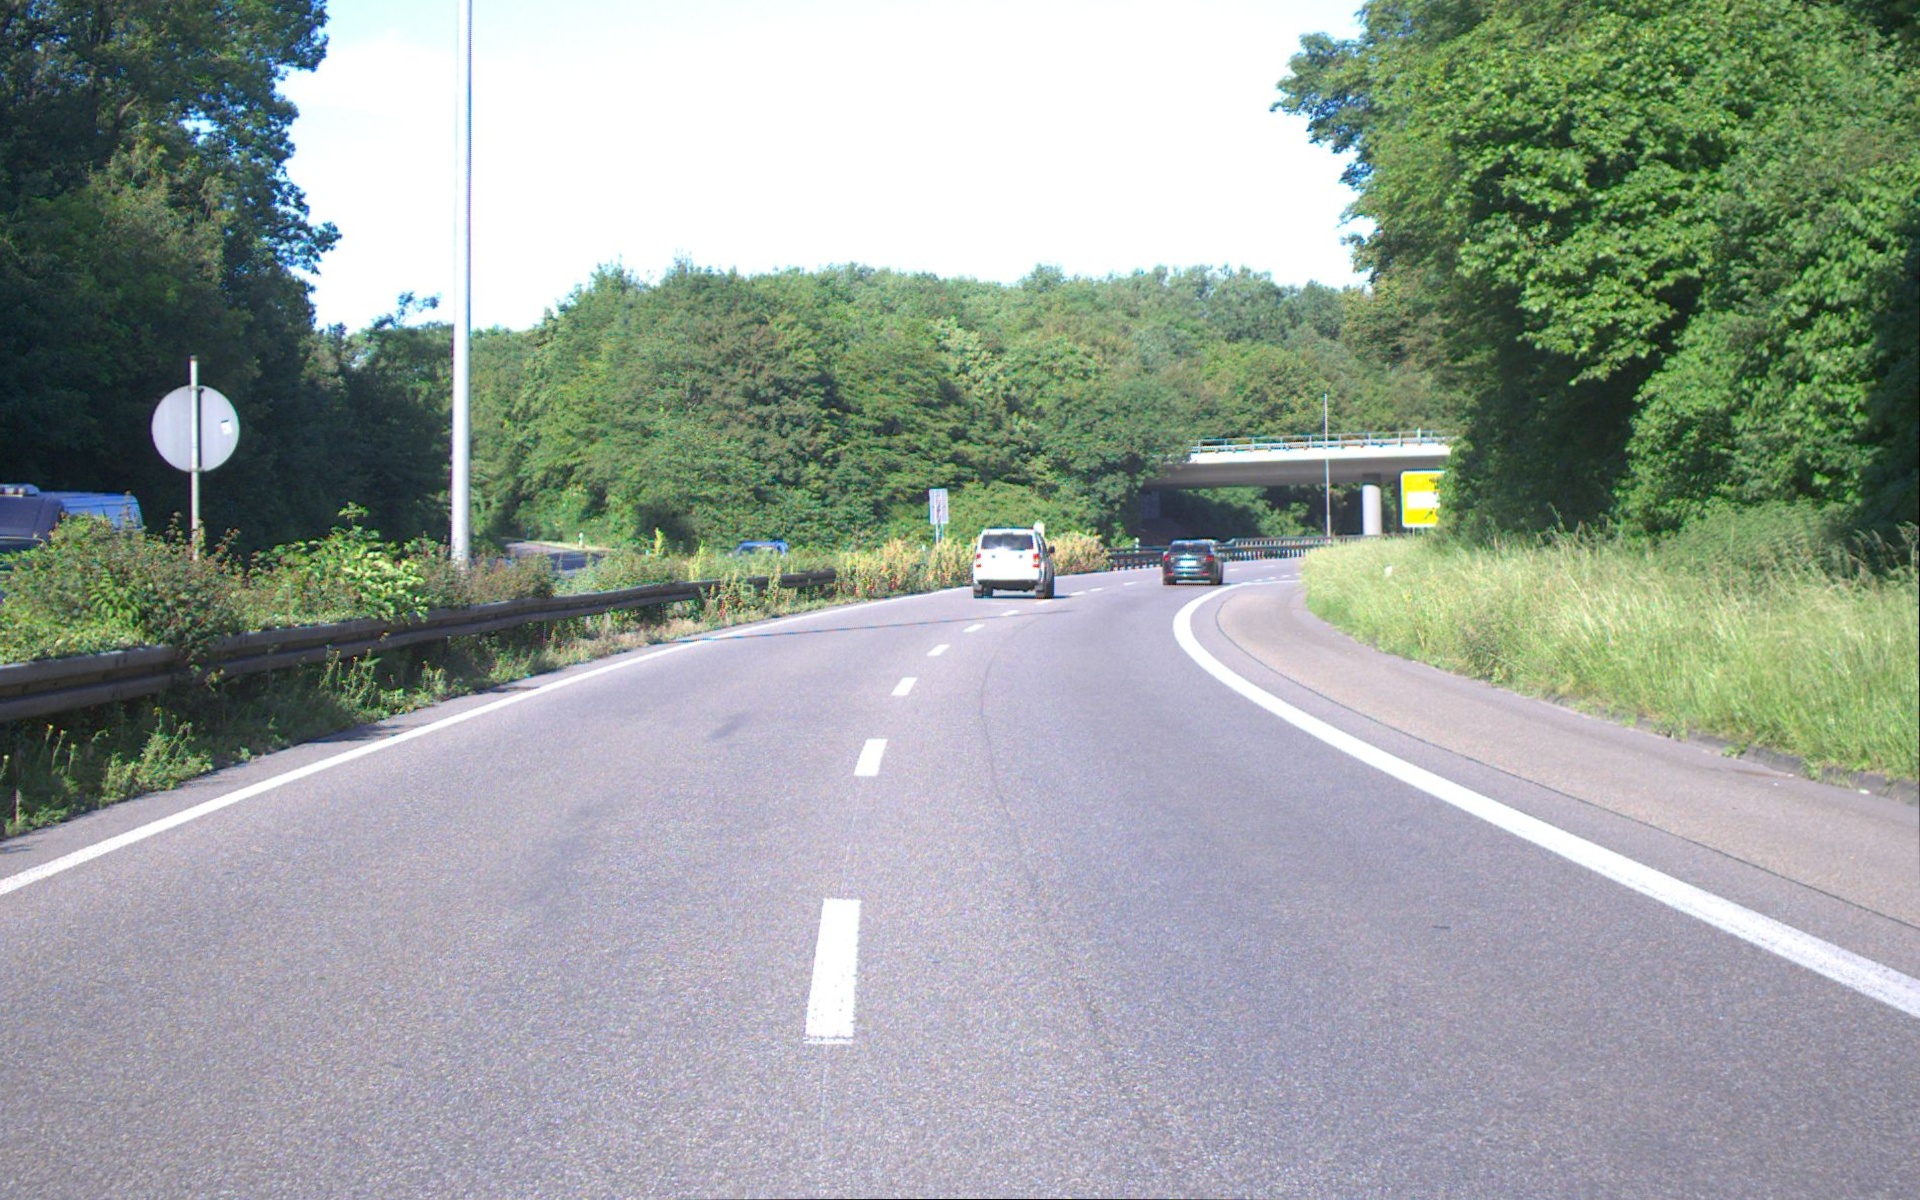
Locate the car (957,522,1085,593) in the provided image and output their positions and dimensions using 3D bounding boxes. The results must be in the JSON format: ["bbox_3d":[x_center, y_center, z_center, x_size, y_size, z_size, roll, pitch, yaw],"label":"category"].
[{"bbox_3d":[1.605,-1.095,88.334,1.953,1.776,4.583,1,1,19],"label":"car"}]

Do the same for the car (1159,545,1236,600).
[{"bbox_3d":[7.865,-0.910,113.351,1.952,1.776,4.585,0,1,11],"label":"car"}]

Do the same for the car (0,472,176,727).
[{"bbox_3d":[-10.426,-0.076,37.607,2.075,2.565,5.784,0,1,3],"label":"car"}]
